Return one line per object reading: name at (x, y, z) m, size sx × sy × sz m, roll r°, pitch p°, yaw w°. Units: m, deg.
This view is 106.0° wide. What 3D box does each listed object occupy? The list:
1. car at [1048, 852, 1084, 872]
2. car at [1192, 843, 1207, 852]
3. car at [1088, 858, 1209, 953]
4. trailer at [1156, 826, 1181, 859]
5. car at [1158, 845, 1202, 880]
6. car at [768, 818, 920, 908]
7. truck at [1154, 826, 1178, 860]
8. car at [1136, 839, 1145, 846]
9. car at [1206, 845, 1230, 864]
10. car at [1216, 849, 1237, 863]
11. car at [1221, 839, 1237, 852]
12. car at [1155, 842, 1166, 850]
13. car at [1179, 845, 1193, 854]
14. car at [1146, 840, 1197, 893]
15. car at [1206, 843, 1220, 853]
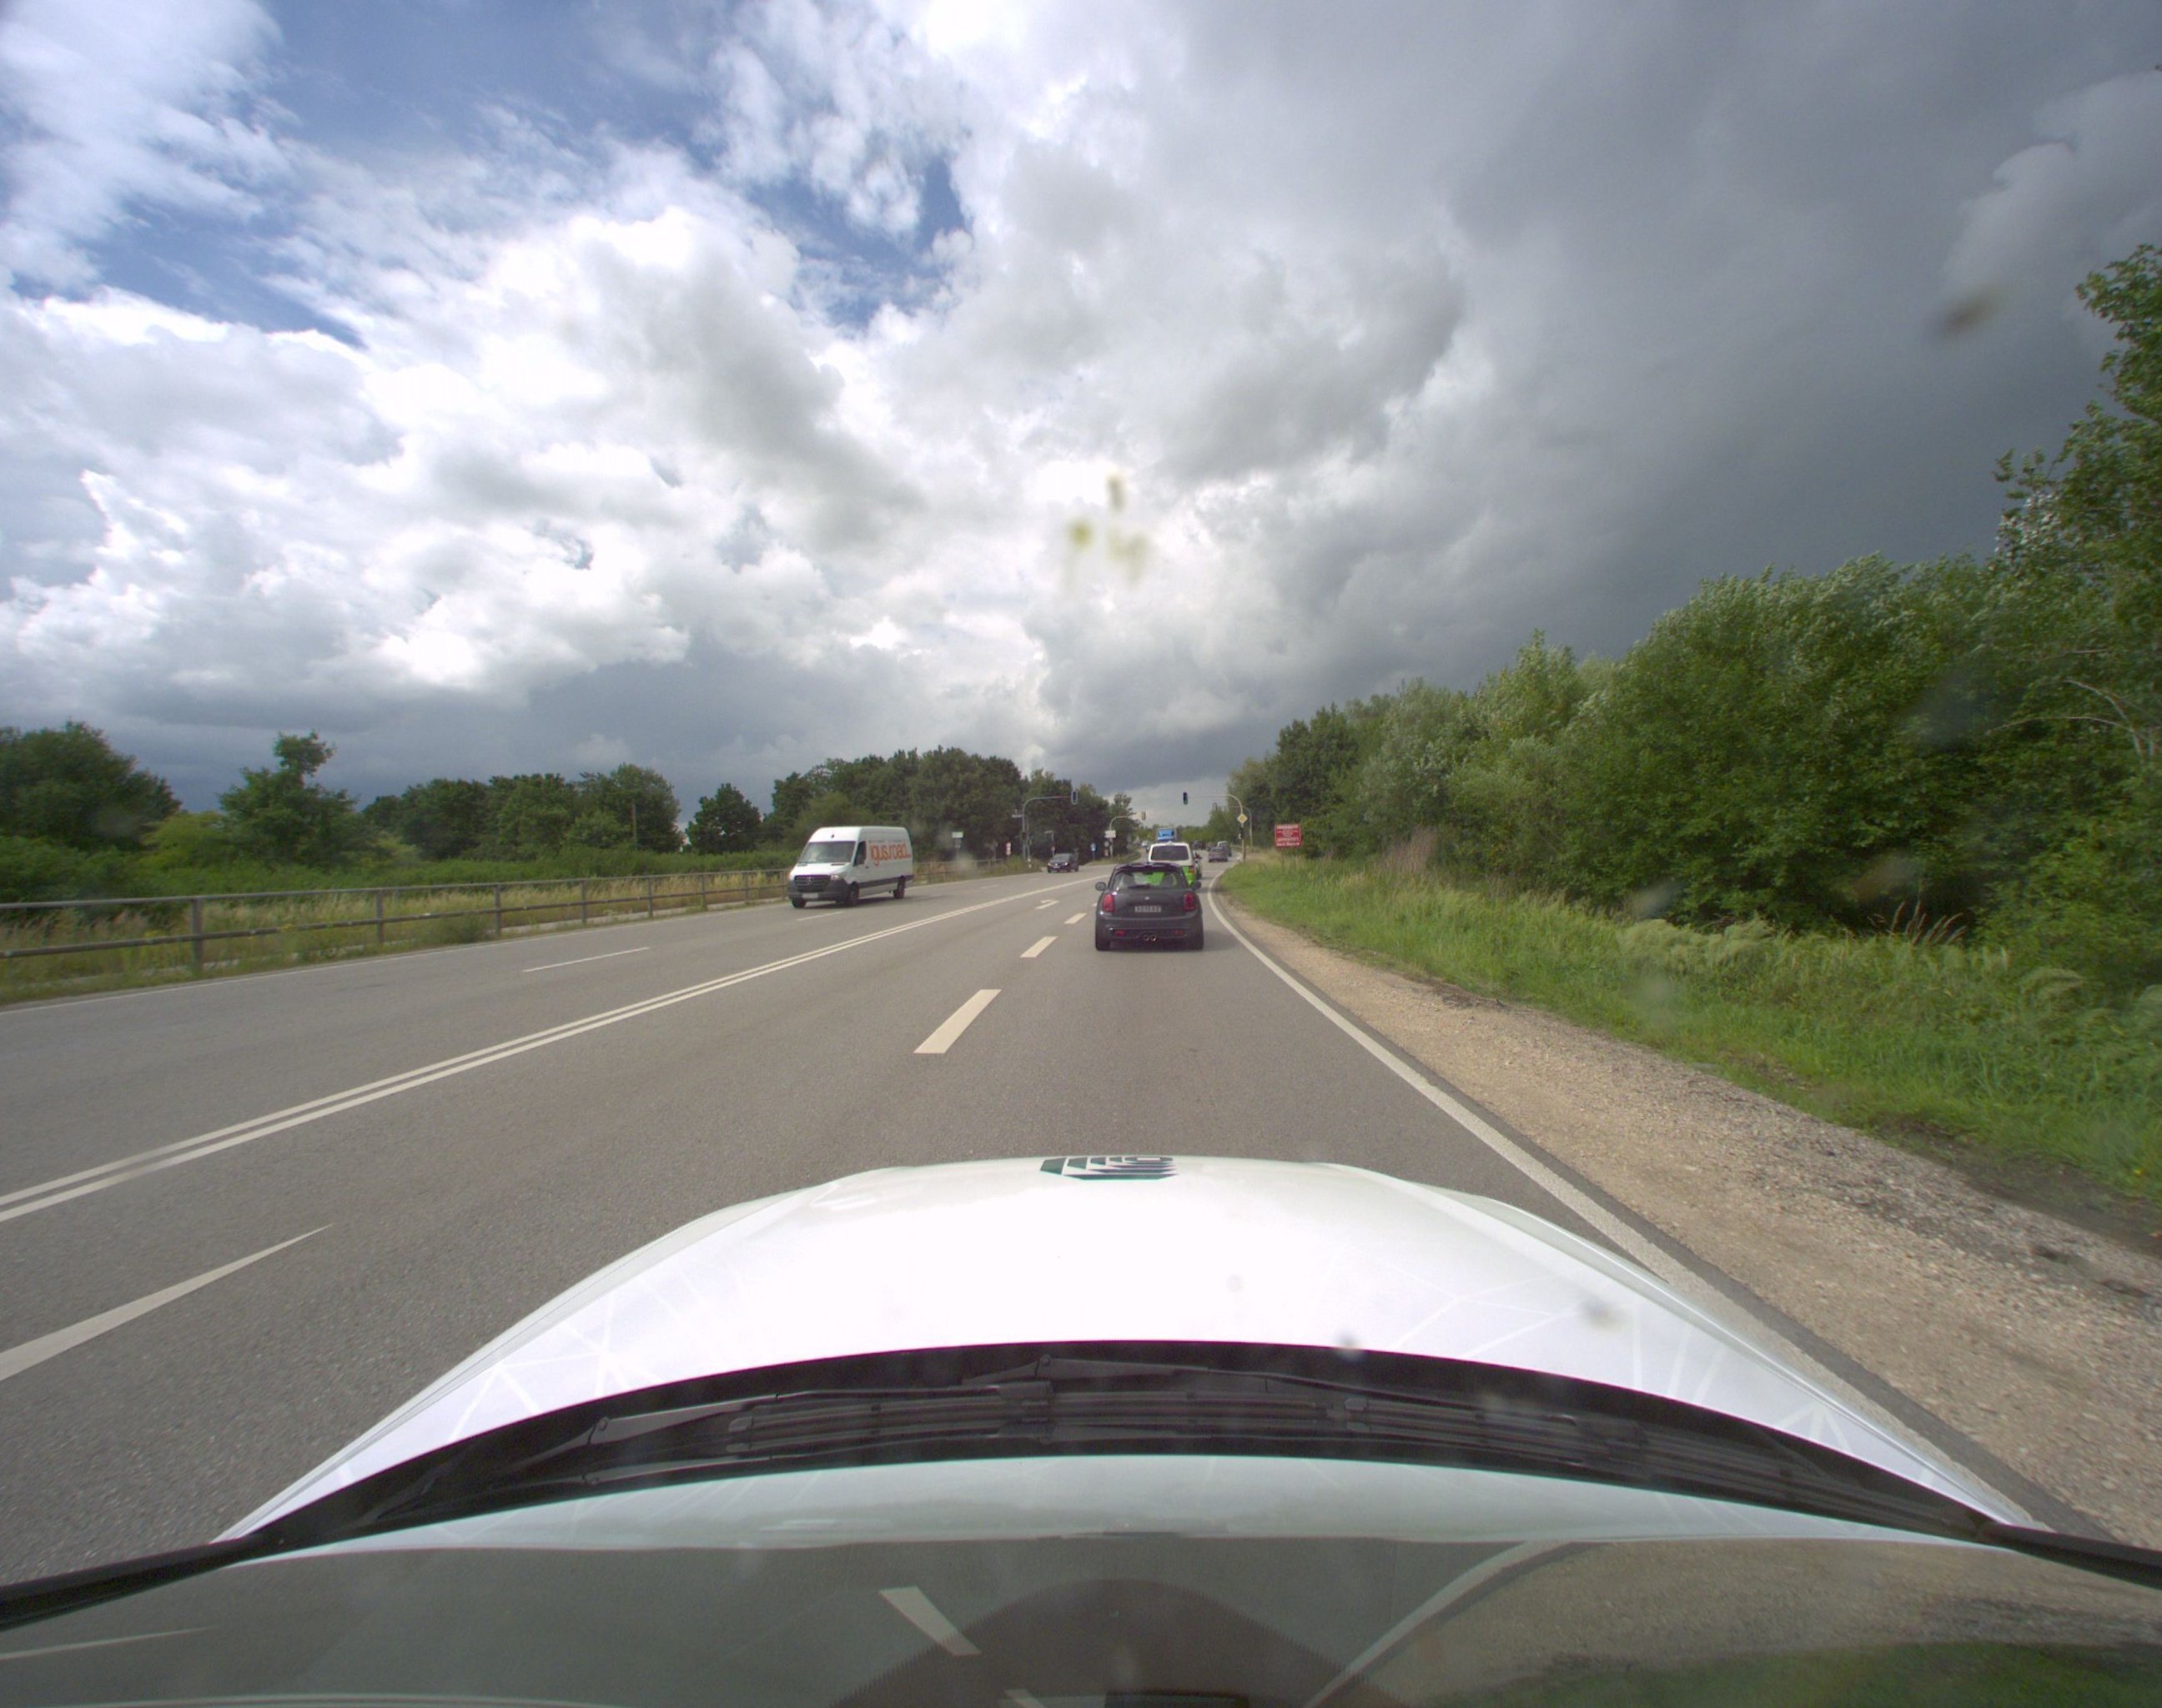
car at (-1.147, 0.624, 63.191) m, size 1.933 × 1.441 × 4.012 m, roll -1°, pitch 0°, yaw 11°
car at (22.143, -1.220, 152.593) m, size 1.988 × 1.695 × 4.482 m, roll -1°, pitch 0°, yaw -2°
car at (1.105, 0.801, 14.405) m, size 1.838 × 1.428 × 3.843 m, roll -1°, pitch 0°, yaw 2°
trailer at (11.269, -1.418, 104.692) m, size 2.511 × 4.101 × 6.756 m, roll -1°, pitch 0°, yaw 11°
car at (5.219, 0.461, 42.460) m, size 1.981 × 1.684 × 4.011 m, roll -2°, pitch -1°, yaw 10°
car at (-7.889, 0.290, 28.167) m, size 2.420 × 2.674 × 6.902 m, roll -1°, pitch 0°, yaw 7°
truck at (10.635, -1.395, 101.589) m, size 2.523 × 4.096 × 4.013 m, roll -1°, pitch 0°, yaw 11°
car at (18.999, -3.568, 261.095) m, size 1.991 × 2.014 × 3.990 m, roll -1°, pitch -2°, yaw -6°
car at (13.595, 0.070, 80.540) m, size 1.979 × 1.684 × 4.016 m, roll -1°, pitch -2°, yaw 15°
car at (17.427, 0.257, 97.542) m, size 1.978 × 1.684 × 3.995 m, roll -1°, pitch -2°, yaw 17°
car at (21.108, -1.138, 116.020) m, size 1.978 × 1.684 × 4.016 m, roll -1°, pitch -2°, yaw 15°
car at (19.498, -1.944, 199.644) m, size 1.990 × 1.787 × 4.479 m, roll -2°, pitch 0°, yaw -4°
car at (21.885, -0.976, 170.030) m, size 1.990 × 1.695 × 4.479 m, roll -1°, pitch 0°, yaw -4°
car at (3.676, 0.446, 32.570) m, size 1.834 × 1.987 × 3.850 m, roll -1°, pitch 1°, yaw 8°
car at (22.132, -0.988, 136.573) m, size 1.983 × 1.684 × 4.006 m, roll 0°, pitch -2°, yaw 6°
